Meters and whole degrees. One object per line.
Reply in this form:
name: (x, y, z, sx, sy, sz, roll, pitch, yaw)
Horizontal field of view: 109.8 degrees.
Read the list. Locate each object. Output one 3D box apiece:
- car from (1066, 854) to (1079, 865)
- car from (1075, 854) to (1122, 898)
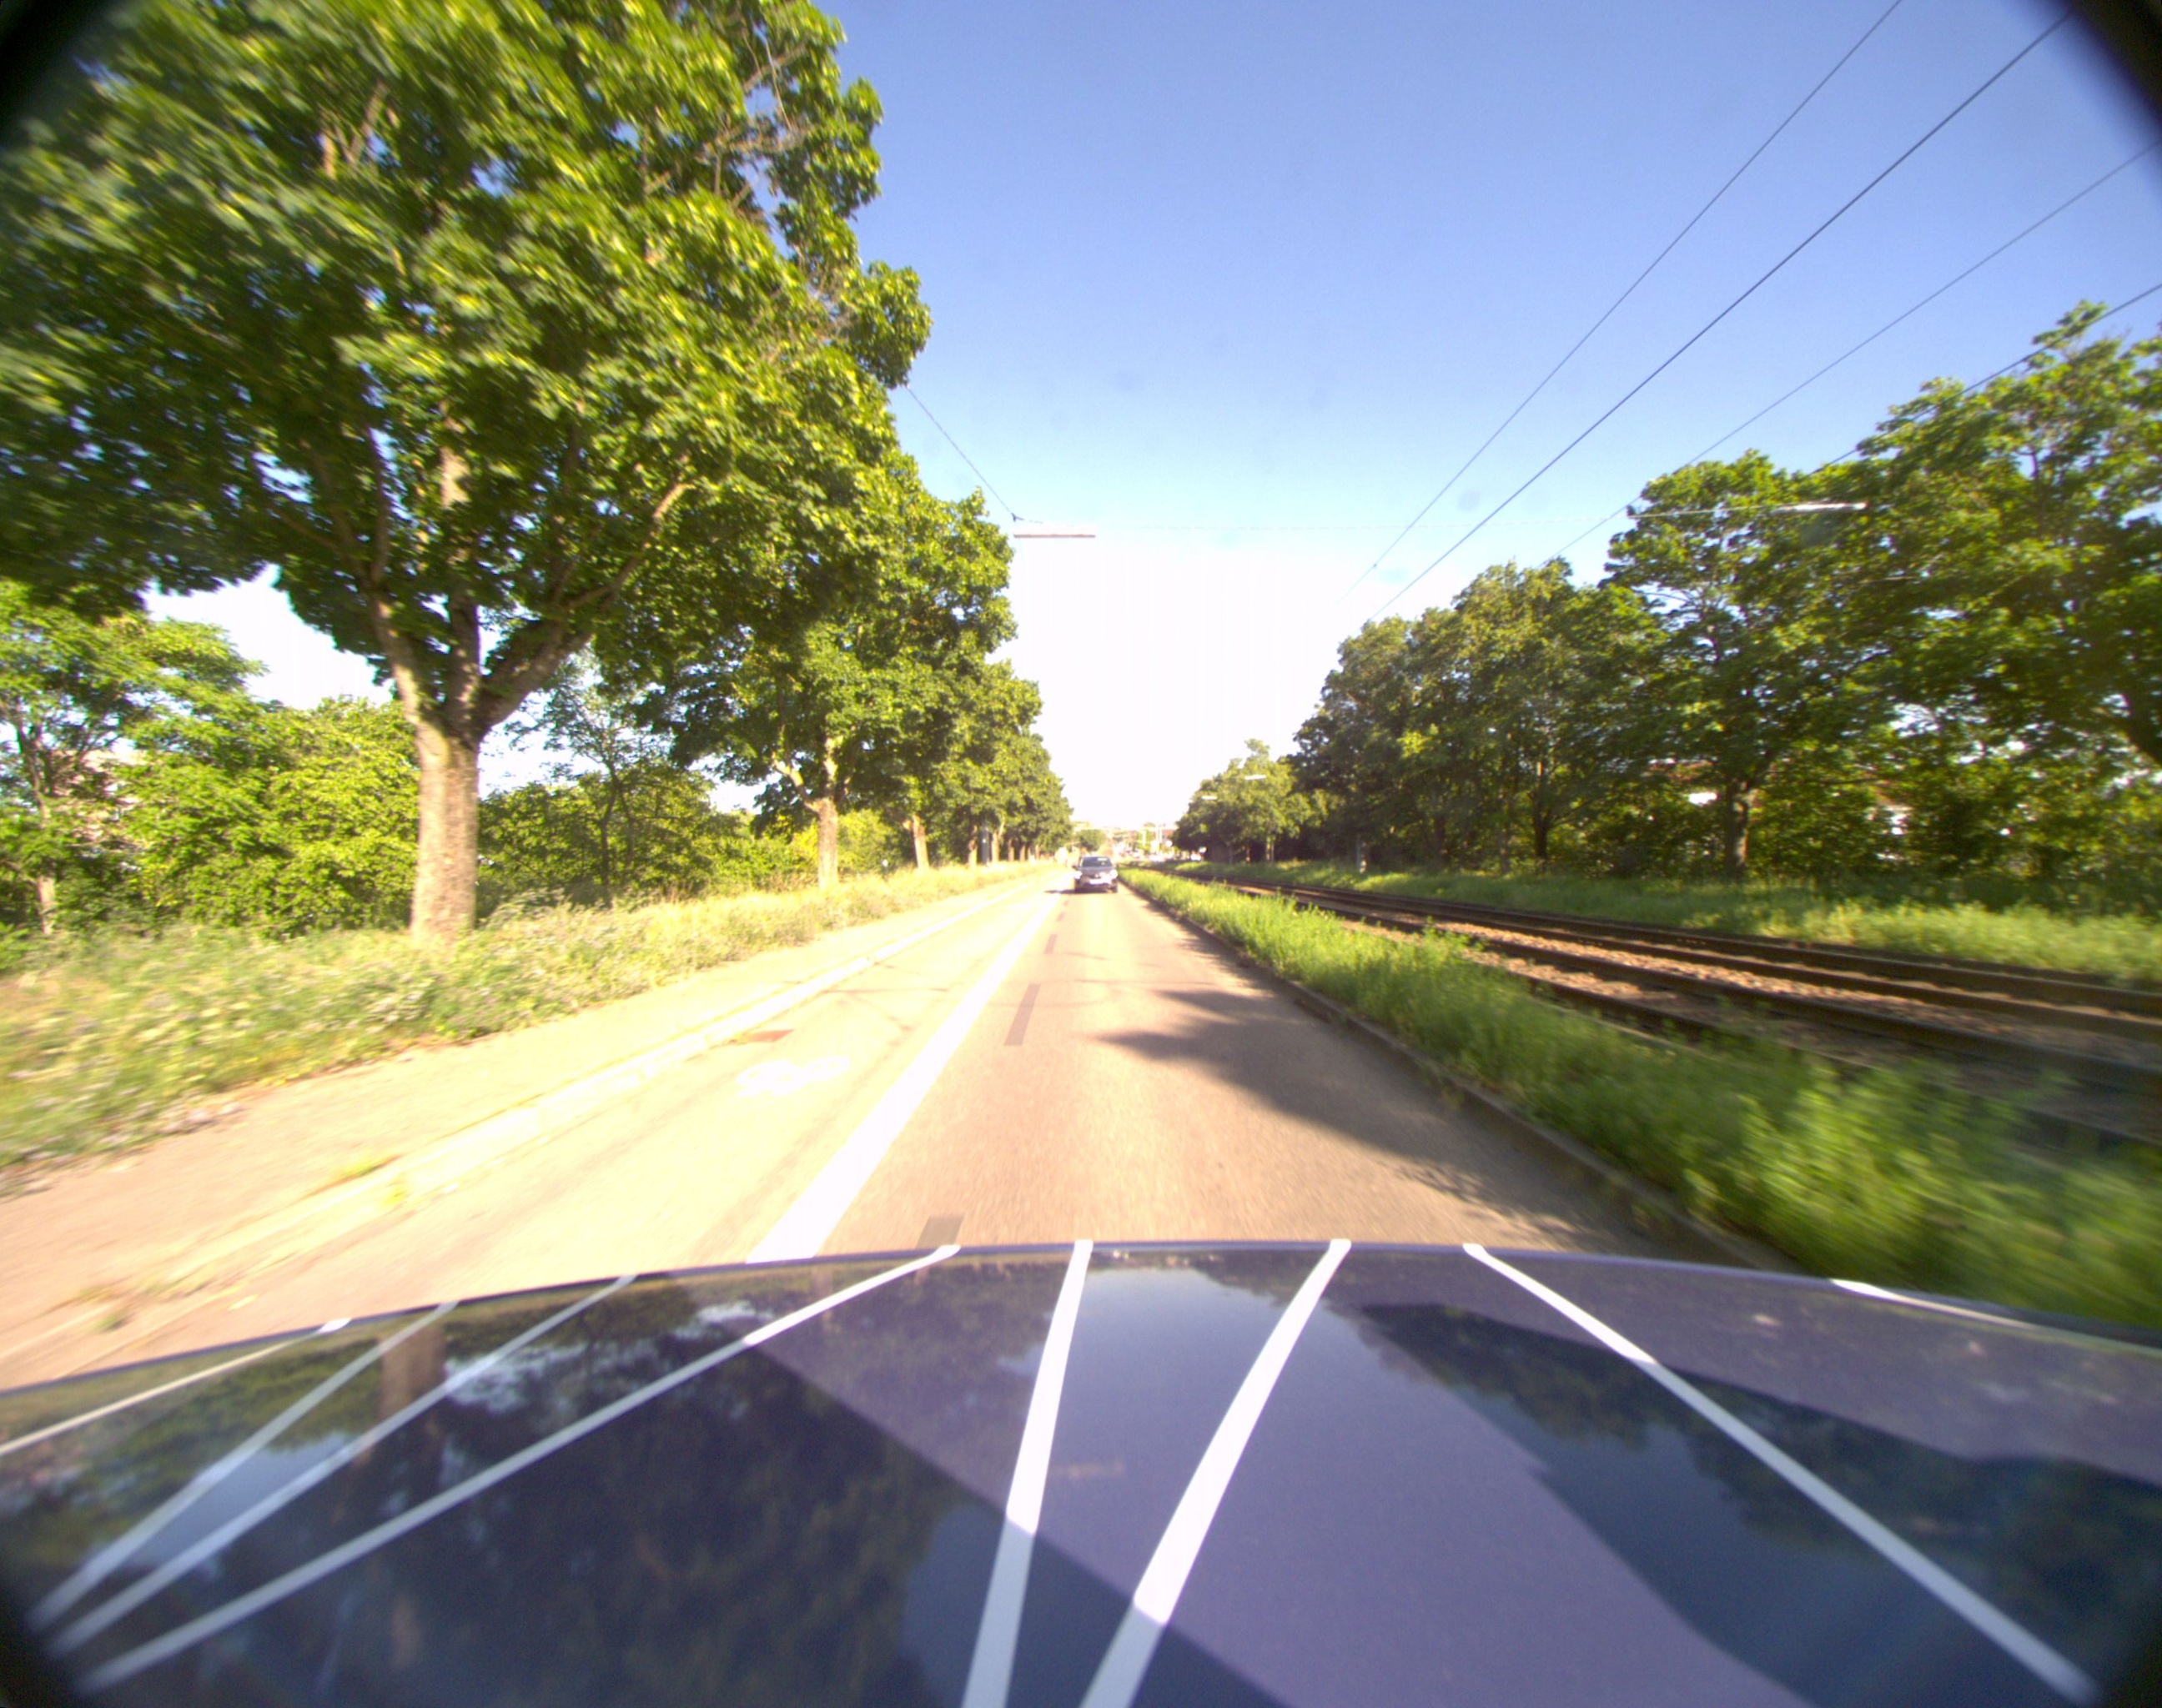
car: (-1.268, 0.892, 118.152, 1.814, 1.625, 4.128, -3, 0, 1)
car: (0.712, 0.841, 31.603, 1.814, 1.625, 4.709, 0, 1, 1)
